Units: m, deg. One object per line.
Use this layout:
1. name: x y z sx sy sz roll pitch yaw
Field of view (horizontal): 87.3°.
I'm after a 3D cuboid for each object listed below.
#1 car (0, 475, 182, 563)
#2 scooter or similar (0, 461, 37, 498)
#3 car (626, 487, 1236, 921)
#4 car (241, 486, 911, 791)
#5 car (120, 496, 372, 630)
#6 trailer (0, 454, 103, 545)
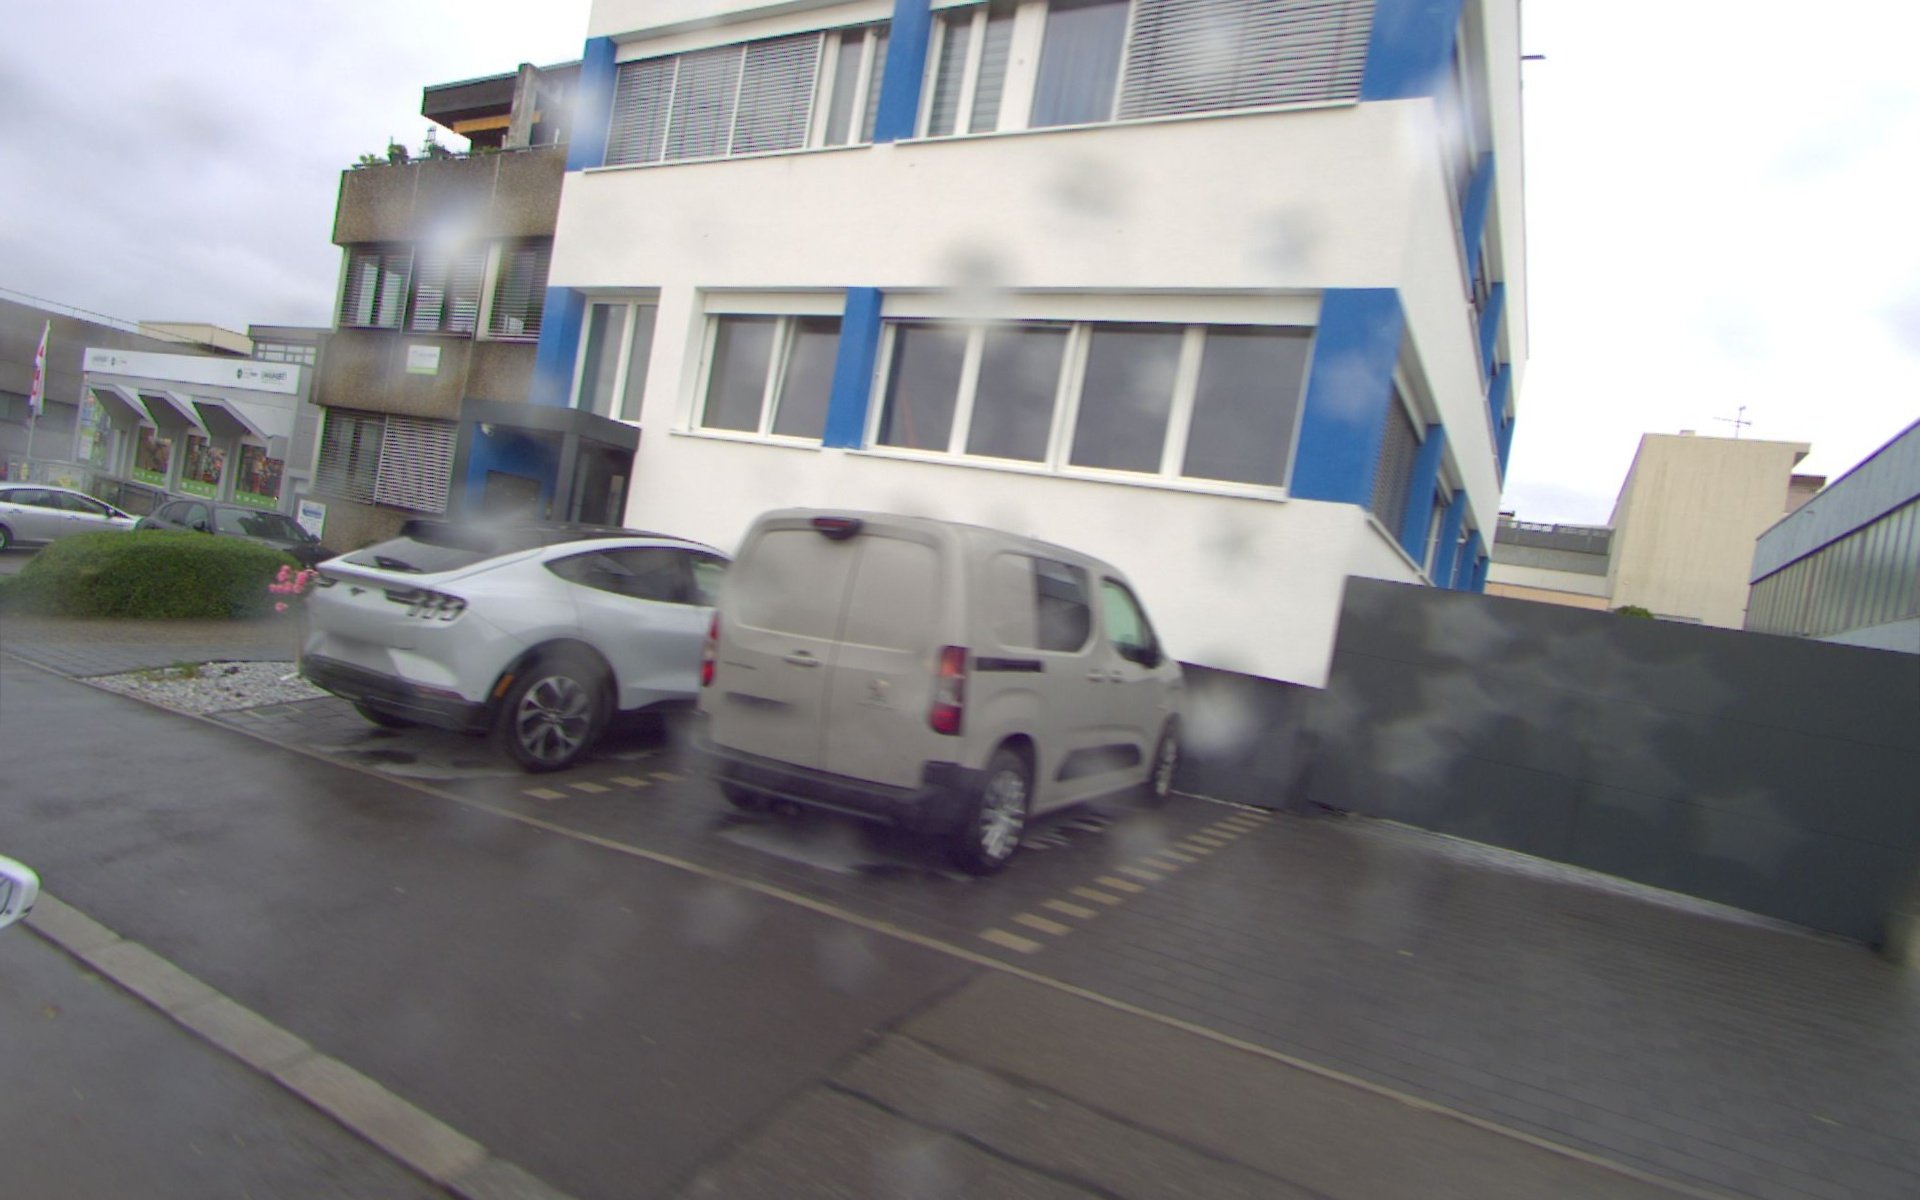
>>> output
1. car: -19.951 -1.809 22.025 1.970 1.594 4.123 6 1 30
2. scooter or similar: -38.094 -4.863 40.387 2.031 1.242 1.063 9 5 33
3. car: 0.229 0.538 6.791 2.053 1.795 4.348 7 0 29
4. car: -2.556 0.258 7.953 2.044 1.558 4.601 7 1 30
5. car: -12.220 -0.653 17.151 4.398 1.771 1.751 6 0 31
6. trailer: -29.734 -3.287 32.393 4.236 2.447 1.889 8 1 32
